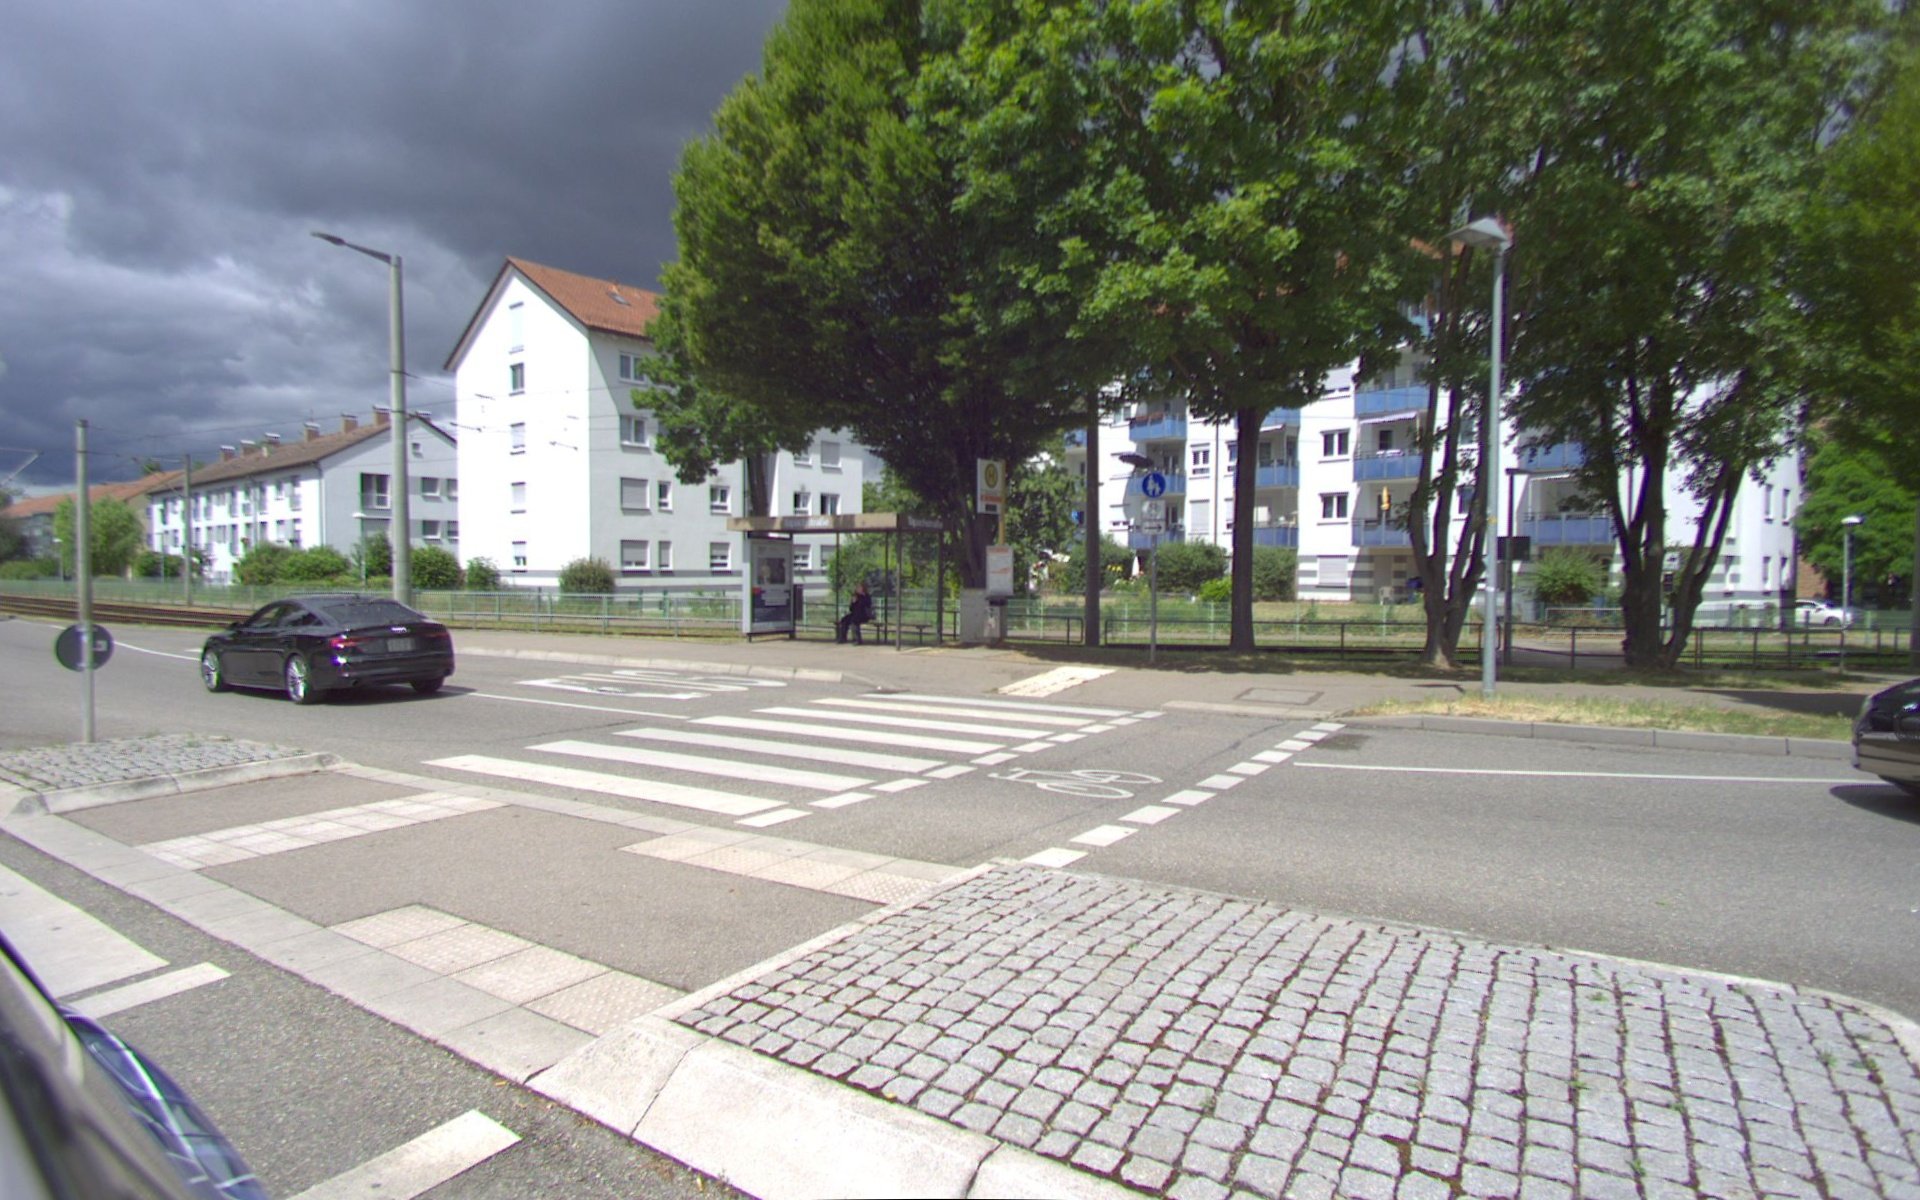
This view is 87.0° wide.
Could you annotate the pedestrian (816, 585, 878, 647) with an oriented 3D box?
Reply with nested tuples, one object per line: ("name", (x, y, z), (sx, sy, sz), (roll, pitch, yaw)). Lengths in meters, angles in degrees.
("pedestrian", (-2.199, 0.297, 19.719), (0.909, 1.143, 0.791), (1, 2, 36))

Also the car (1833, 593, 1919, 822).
("car", (8.390, 0.711, 6.092), (4.342, 1.465, 1.853), (0, 2, 12))

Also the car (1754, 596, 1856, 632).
("car", (45.441, 0.710, 54.485), (1.969, 1.822, 4.005), (0, 1, -42))

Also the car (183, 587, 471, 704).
("car", (-9.058, 0.531, 14.361), (4.606, 1.394, 1.802), (1, 1, 35))
